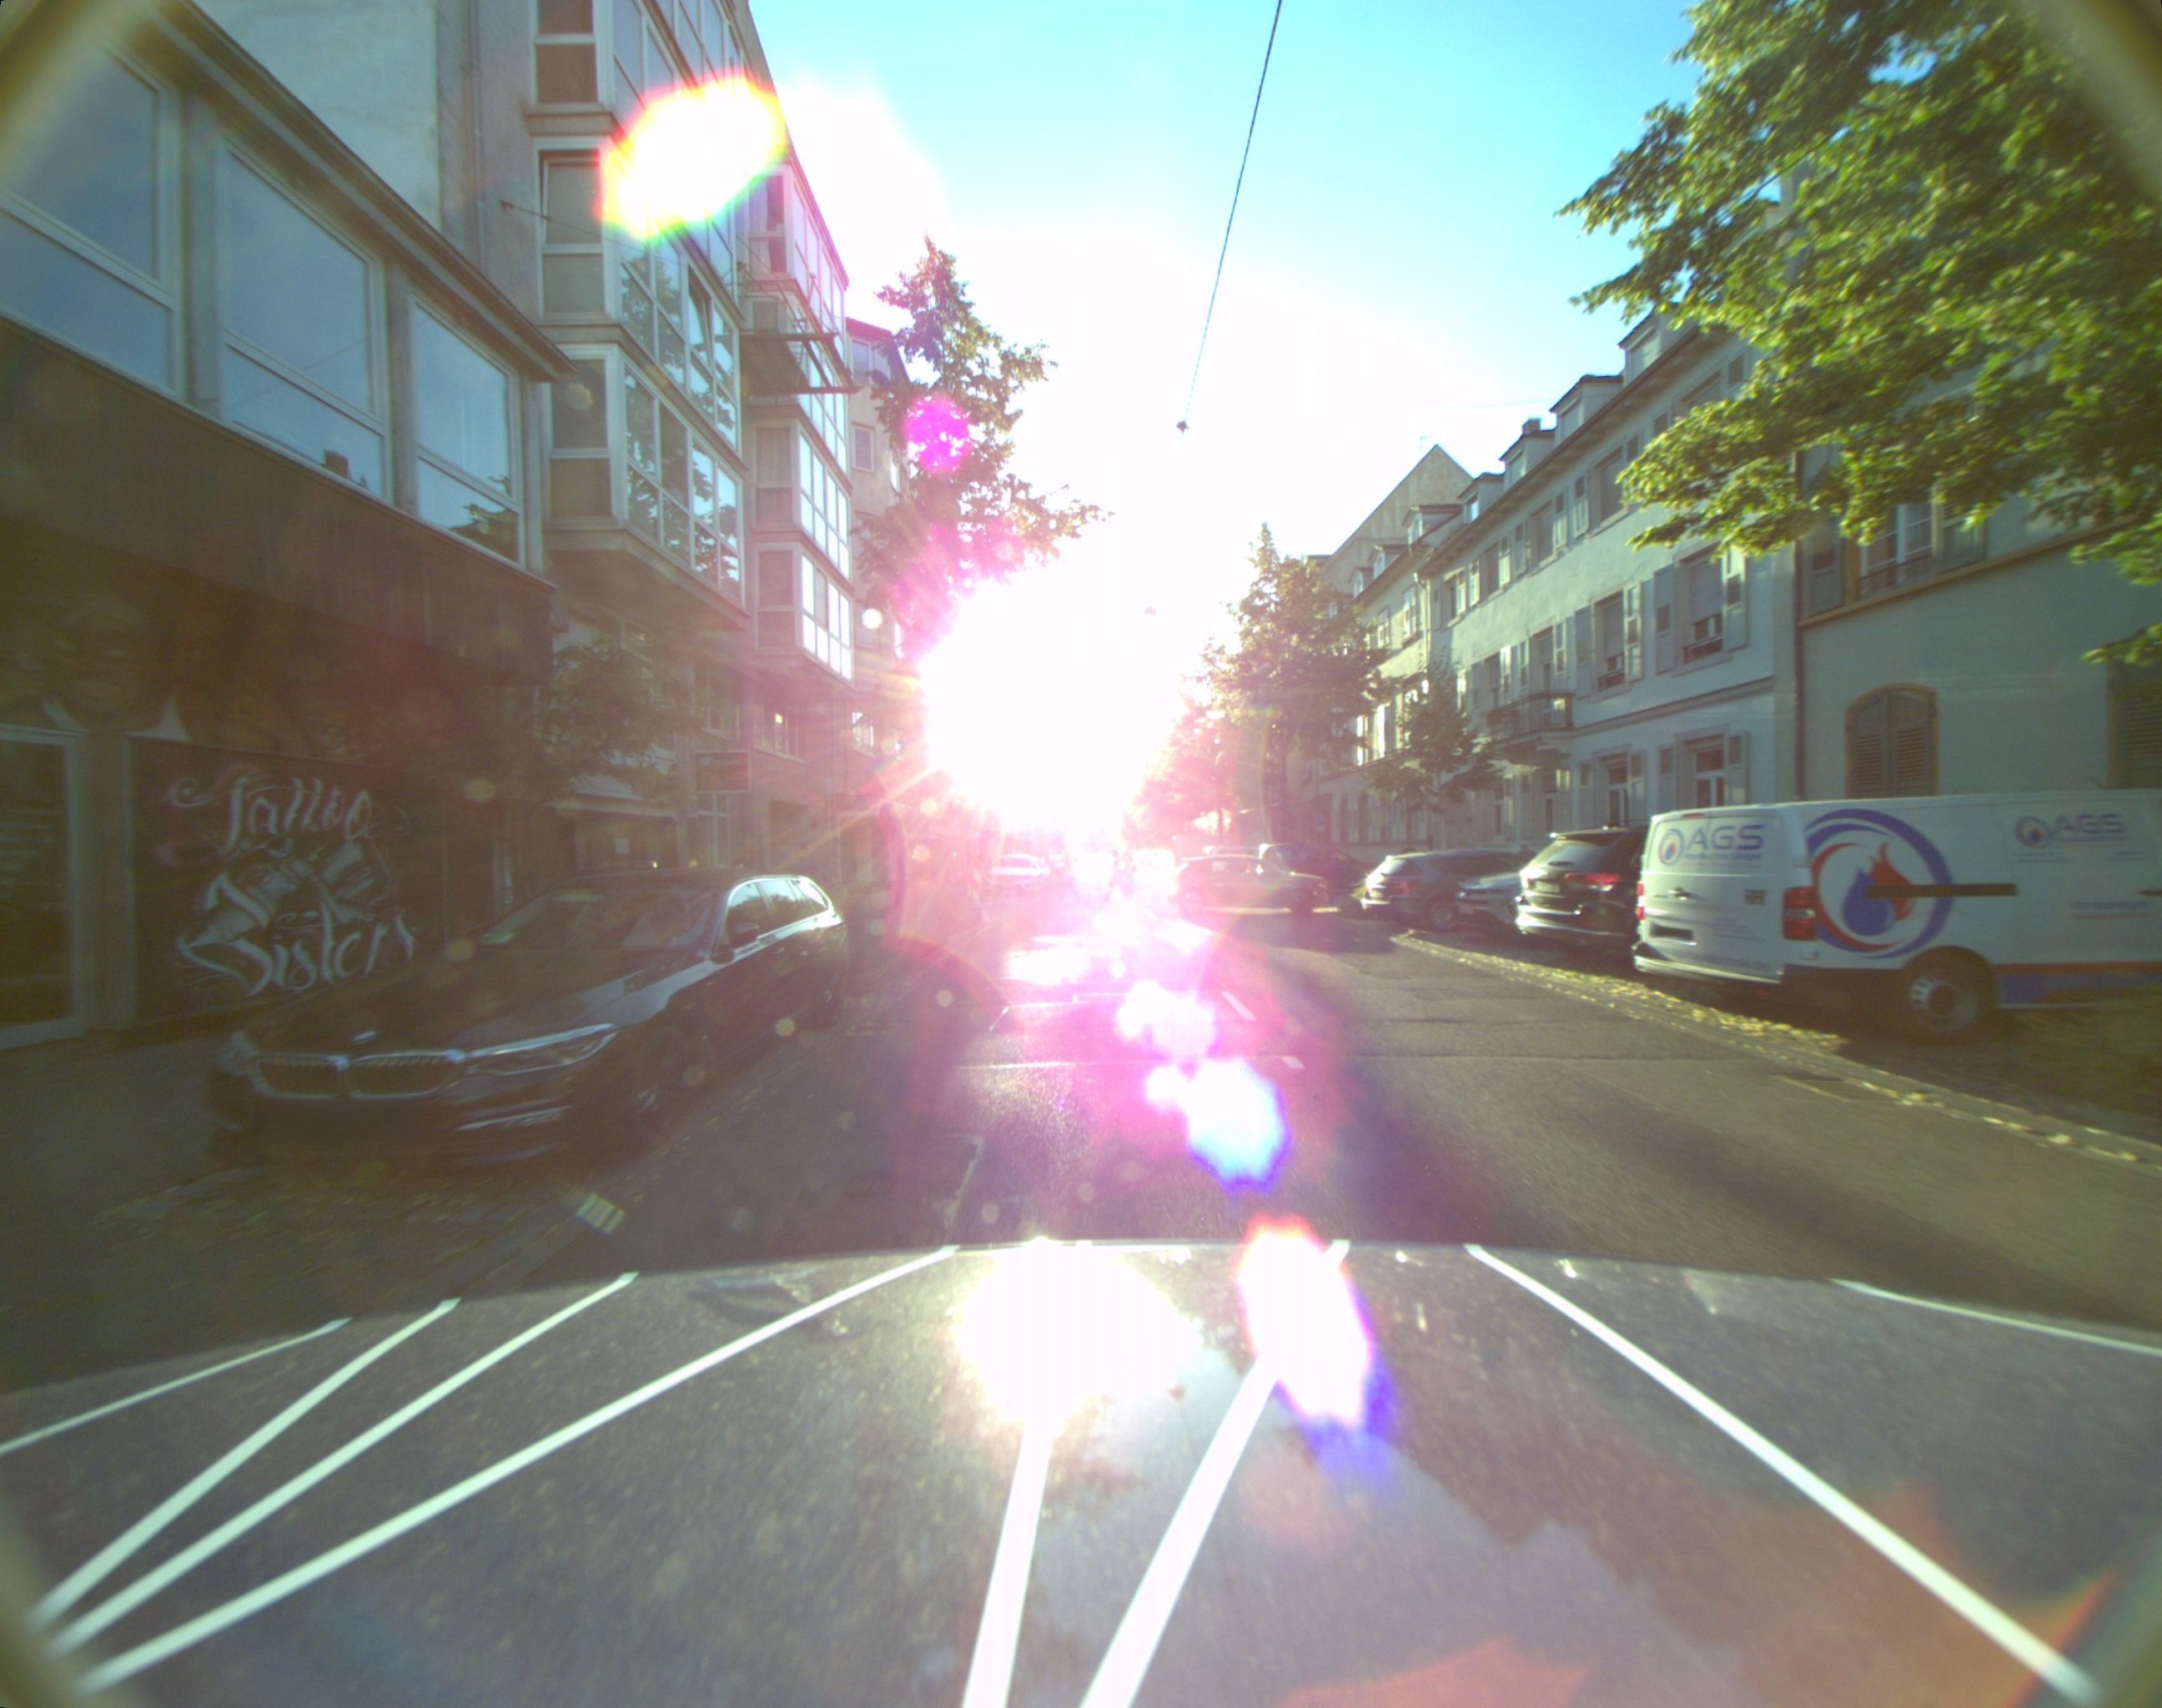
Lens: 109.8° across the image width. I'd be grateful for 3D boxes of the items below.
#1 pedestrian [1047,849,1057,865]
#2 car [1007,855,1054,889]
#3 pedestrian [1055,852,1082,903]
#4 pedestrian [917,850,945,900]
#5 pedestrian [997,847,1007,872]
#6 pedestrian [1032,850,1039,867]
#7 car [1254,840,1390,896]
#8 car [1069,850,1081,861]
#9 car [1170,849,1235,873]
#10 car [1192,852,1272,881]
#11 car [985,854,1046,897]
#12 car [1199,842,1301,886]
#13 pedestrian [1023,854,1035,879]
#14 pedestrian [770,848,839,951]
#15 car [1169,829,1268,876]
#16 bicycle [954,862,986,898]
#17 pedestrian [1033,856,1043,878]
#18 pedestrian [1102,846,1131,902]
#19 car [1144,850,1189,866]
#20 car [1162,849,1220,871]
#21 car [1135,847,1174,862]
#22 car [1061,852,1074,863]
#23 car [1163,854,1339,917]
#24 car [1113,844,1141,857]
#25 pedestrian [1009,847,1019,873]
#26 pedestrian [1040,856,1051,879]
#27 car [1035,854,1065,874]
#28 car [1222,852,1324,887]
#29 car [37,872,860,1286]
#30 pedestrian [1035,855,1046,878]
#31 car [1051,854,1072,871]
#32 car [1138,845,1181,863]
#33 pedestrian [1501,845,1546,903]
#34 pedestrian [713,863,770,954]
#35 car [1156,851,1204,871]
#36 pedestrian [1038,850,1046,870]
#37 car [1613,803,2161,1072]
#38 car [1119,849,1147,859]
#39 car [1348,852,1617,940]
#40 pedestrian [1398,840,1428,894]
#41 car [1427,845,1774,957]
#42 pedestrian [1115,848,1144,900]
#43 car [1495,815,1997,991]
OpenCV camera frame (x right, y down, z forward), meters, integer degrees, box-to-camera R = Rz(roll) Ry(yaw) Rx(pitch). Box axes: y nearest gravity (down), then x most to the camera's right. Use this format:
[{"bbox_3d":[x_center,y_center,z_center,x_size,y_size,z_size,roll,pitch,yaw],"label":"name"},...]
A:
[{"bbox_3d":[-3.251,0.335,85.895,1.049,1.775,0.945,2,1,1],"label":"pedestrian"},{"bbox_3d":[-2.379,0.819,36.987,1.846,1.472,5.190,1,0,1],"label":"car"},{"bbox_3d":[-0.394,0.765,24.825,0.829,1.629,0.827,-1,1,2],"label":"pedestrian"},{"bbox_3d":[-5.085,0.698,25.831,0.790,1.694,0.700,0,1,1],"label":"pedestrian"},{"bbox_3d":[-5.881,0.402,56.829,0.590,1.799,0.836,2,1,1],"label":"pedestrian"},{"bbox_3d":[-4.986,0.491,83.136,0.756,1.748,0.812,-1,1,1],"label":"pedestrian"},{"bbox_3d":[8.241,0.482,26.242,4.147,1.796,1.807,-1,0,3],"label":"car"},{"bbox_3d":[-1.170,0.285,143.184,1.867,1.900,4.256,2,0,4],"label":"car"},{"bbox_3d":[8.466,0.505,53.332,4.223,1.497,1.793,-3,0,1],"label":"car"},{"bbox_3d":[8.299,0.693,41.939,3.997,1.396,1.749,-2,1,-1],"label":"car"},{"bbox_3d":[-2.550,0.809,30.685,1.884,1.565,4.692,1,0,1],"label":"car"},{"bbox_3d":[8.060,0.479,36.658,4.510,1.942,1.919,-2,0,3],"label":"car"},{"bbox_3d":[-3.357,0.785,49.153,0.709,1.589,0.795,1,0,1],"label":"pedestrian"},{"bbox_3d":[-4.979,0.792,13.735,0.858,1.784,0.997,0,1,0],"label":"pedestrian"},{"bbox_3d":[8.478,-0.084,47.270,5.672,2.606,2.171,-3,0,1],"label":"car"},{"bbox_3d":[-4.092,0.931,28.140,0.777,1.255,2.050,1,0,2],"label":"bicycle"},{"bbox_3d":[-2.889,0.855,50.760,0.579,1.454,0.603,1,0,1],"label":"pedestrian"},{"bbox_3d":[1.130,0.636,24.370,0.924,1.749,0.762,0,1,2],"label":"pedestrian"},{"bbox_3d":[8.833,0.409,78.688,4.393,1.414,1.822,-3,0,1],"label":"car"},{"bbox_3d":[8.465,0.462,58.760,4.196,1.474,1.970,-3,0,0],"label":"car"},{"bbox_3d":[8.975,0.047,93.399,4.567,1.772,1.946,-1,1,0],"label":"car"},{"bbox_3d":[-1.995,0.515,112.319,1.758,1.638,3.793,2,0,1],"label":"car"},{"bbox_3d":[4.174,0.766,18.864,4.065,1.453,1.687,-1,0,12],"label":"car"},{"bbox_3d":[8.709,-0.725,143.702,4.782,2.344,2.153,-1,0,-27],"label":"car"},{"bbox_3d":[-5.021,0.440,56.816,0.627,1.857,0.976,2,1,1],"label":"pedestrian"},{"bbox_3d":[-2.080,0.798,44.461,0.579,1.311,0.704,1,1,1],"label":"pedestrian"},{"bbox_3d":[-2.288,0.739,57.771,1.778,1.431,5.001,1,0,3],"label":"car"},{"bbox_3d":[8.482,0.683,33.808,4.162,1.431,1.594,-2,0,2],"label":"car"},{"bbox_3d":[-3.170,0.945,5.390,1.833,1.479,4.849,1,0,-1],"label":"car"},{"bbox_3d":[-2.623,0.799,49.133,0.633,1.476,0.795,1,0,1],"label":"pedestrian"},{"bbox_3d":[-1.789,0.759,69.828,1.726,1.484,4.752,1,0,0],"label":"car"},{"bbox_3d":[8.927,0.008,86.611,4.718,1.800,2.053,-3,0,2],"label":"car"},{"bbox_3d":[12.042,0.532,20.695,0.698,1.513,0.796,-2,0,0],"label":"pedestrian"},{"bbox_3d":[-5.858,0.917,13.129,0.612,1.516,0.773,0,1,1],"label":"pedestrian"},{"bbox_3d":[8.600,0.606,66.243,3.925,1.440,1.697,-3,0,-2],"label":"car"},{"bbox_3d":[-3.350,0.504,65.702,0.626,1.667,0.640,0,1,2],"label":"pedestrian"},{"bbox_3d":[7.668,0.581,6.450,4.882,1.897,1.974,-1,0,1],"label":"car"},{"bbox_3d":[8.624,0.059,126.755,4.579,1.548,1.809,-1,0,-37],"label":"car"},{"bbox_3d":[7.425,0.736,14.378,4.047,1.475,1.963,-1,0,1],"label":"car"},{"bbox_3d":[11.237,0.421,25.746,0.664,1.791,0.780,-1,1,1],"label":"pedestrian"},{"bbox_3d":[7.896,0.680,11.903,4.046,1.546,1.965,-1,0,3],"label":"car"},{"bbox_3d":[1.585,0.638,25.115,0.924,1.685,0.762,-1,1,2],"label":"pedestrian"},{"bbox_3d":[7.827,0.548,9.320,4.439,1.859,1.894,-1,0,2],"label":"car"}]
